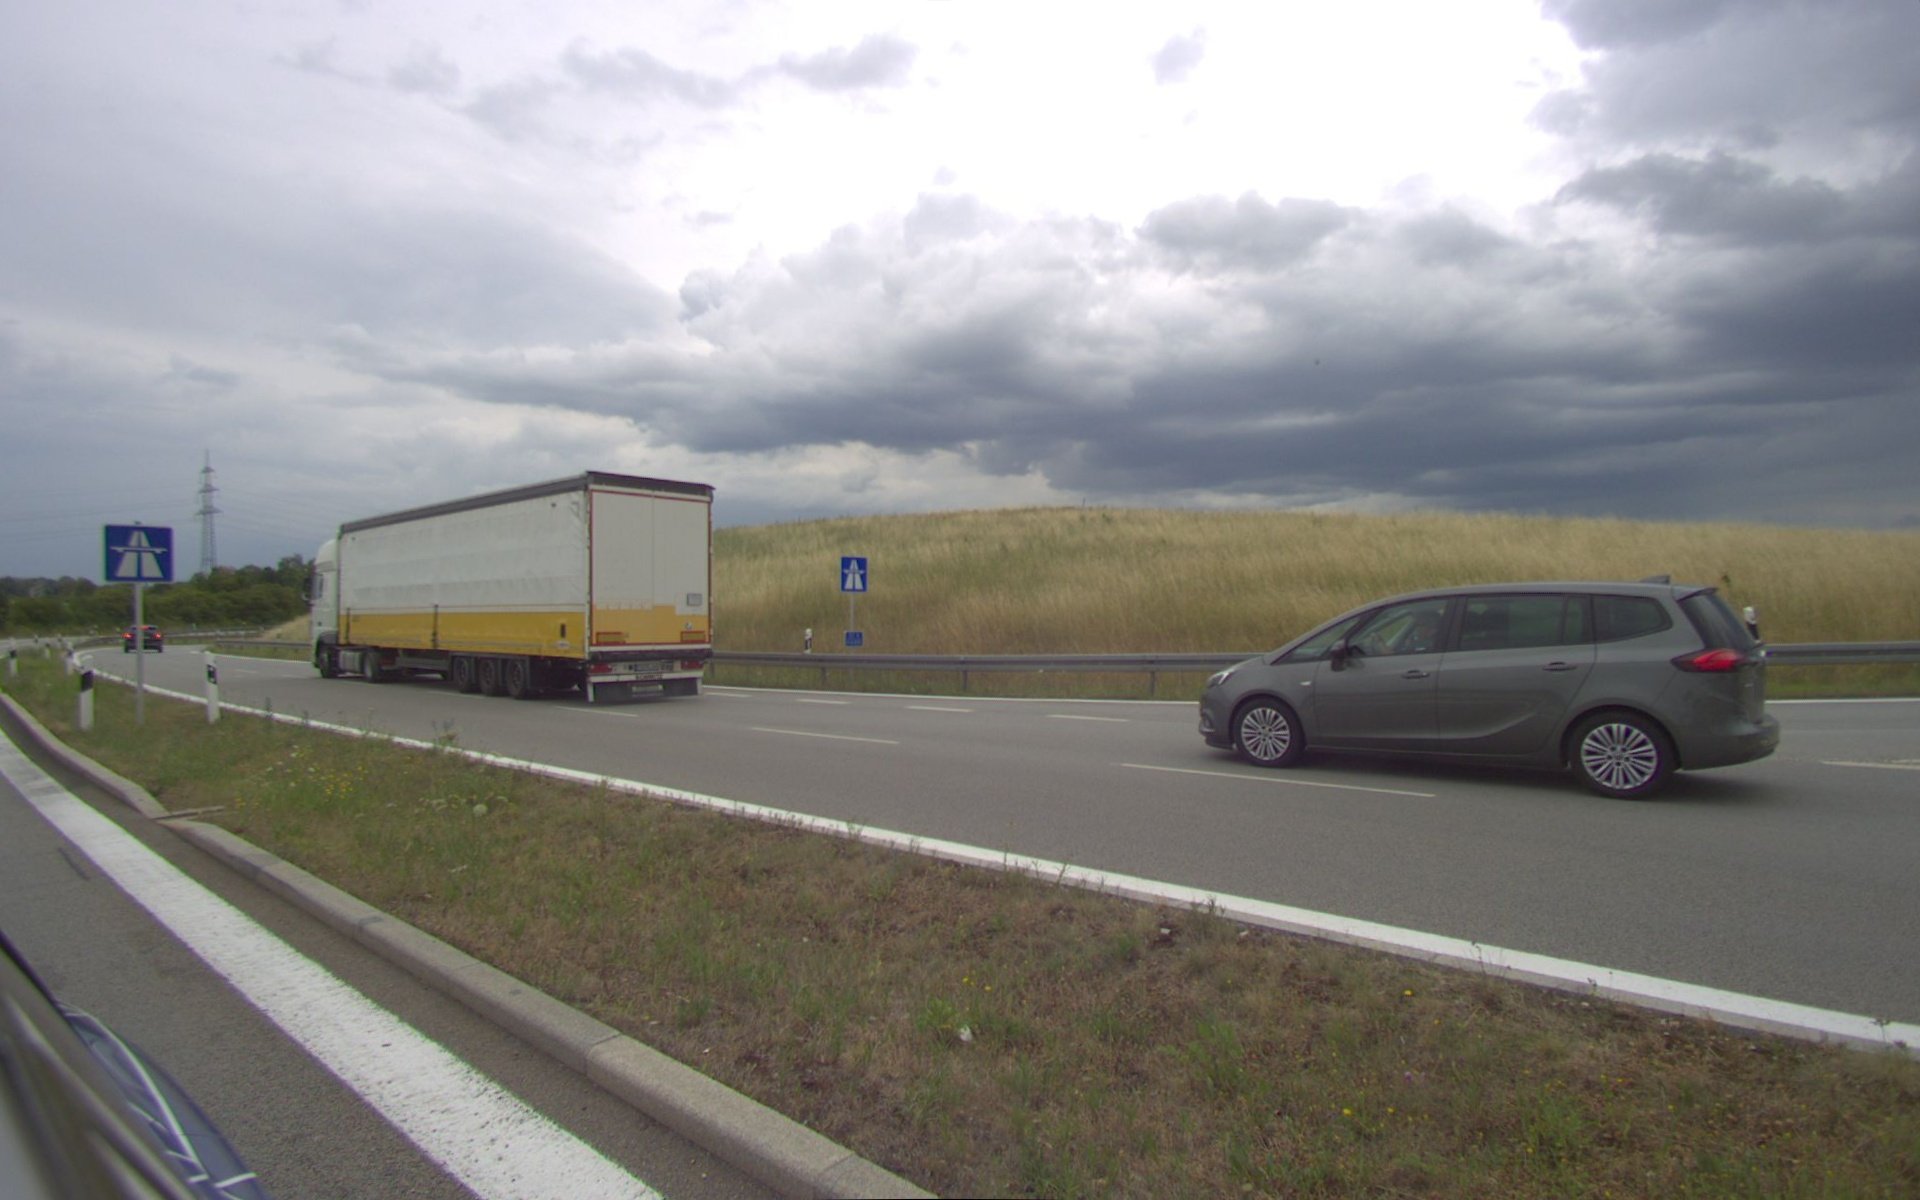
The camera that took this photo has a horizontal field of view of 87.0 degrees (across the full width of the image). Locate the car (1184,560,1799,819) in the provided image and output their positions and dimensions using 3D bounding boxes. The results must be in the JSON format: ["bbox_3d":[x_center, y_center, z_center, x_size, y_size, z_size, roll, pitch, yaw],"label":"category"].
[{"bbox_3d":[4.442,0.600,8.877,4.453,1.707,1.973,-1,0,41],"label":"car"}]

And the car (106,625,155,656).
[{"bbox_3d":[-48.561,2.343,59.229,1.970,1.696,4.118,-1,0,-43],"label":"car"}]

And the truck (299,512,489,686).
[{"bbox_3d":[-15.402,-0.005,27.332,6.403,4.172,2.621,-1,0,43],"label":"truck"}]

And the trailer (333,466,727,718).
[{"bbox_3d":[-10.360,-0.086,22.669,13.840,4.242,2.663,-1,0,43],"label":"trailer"}]
